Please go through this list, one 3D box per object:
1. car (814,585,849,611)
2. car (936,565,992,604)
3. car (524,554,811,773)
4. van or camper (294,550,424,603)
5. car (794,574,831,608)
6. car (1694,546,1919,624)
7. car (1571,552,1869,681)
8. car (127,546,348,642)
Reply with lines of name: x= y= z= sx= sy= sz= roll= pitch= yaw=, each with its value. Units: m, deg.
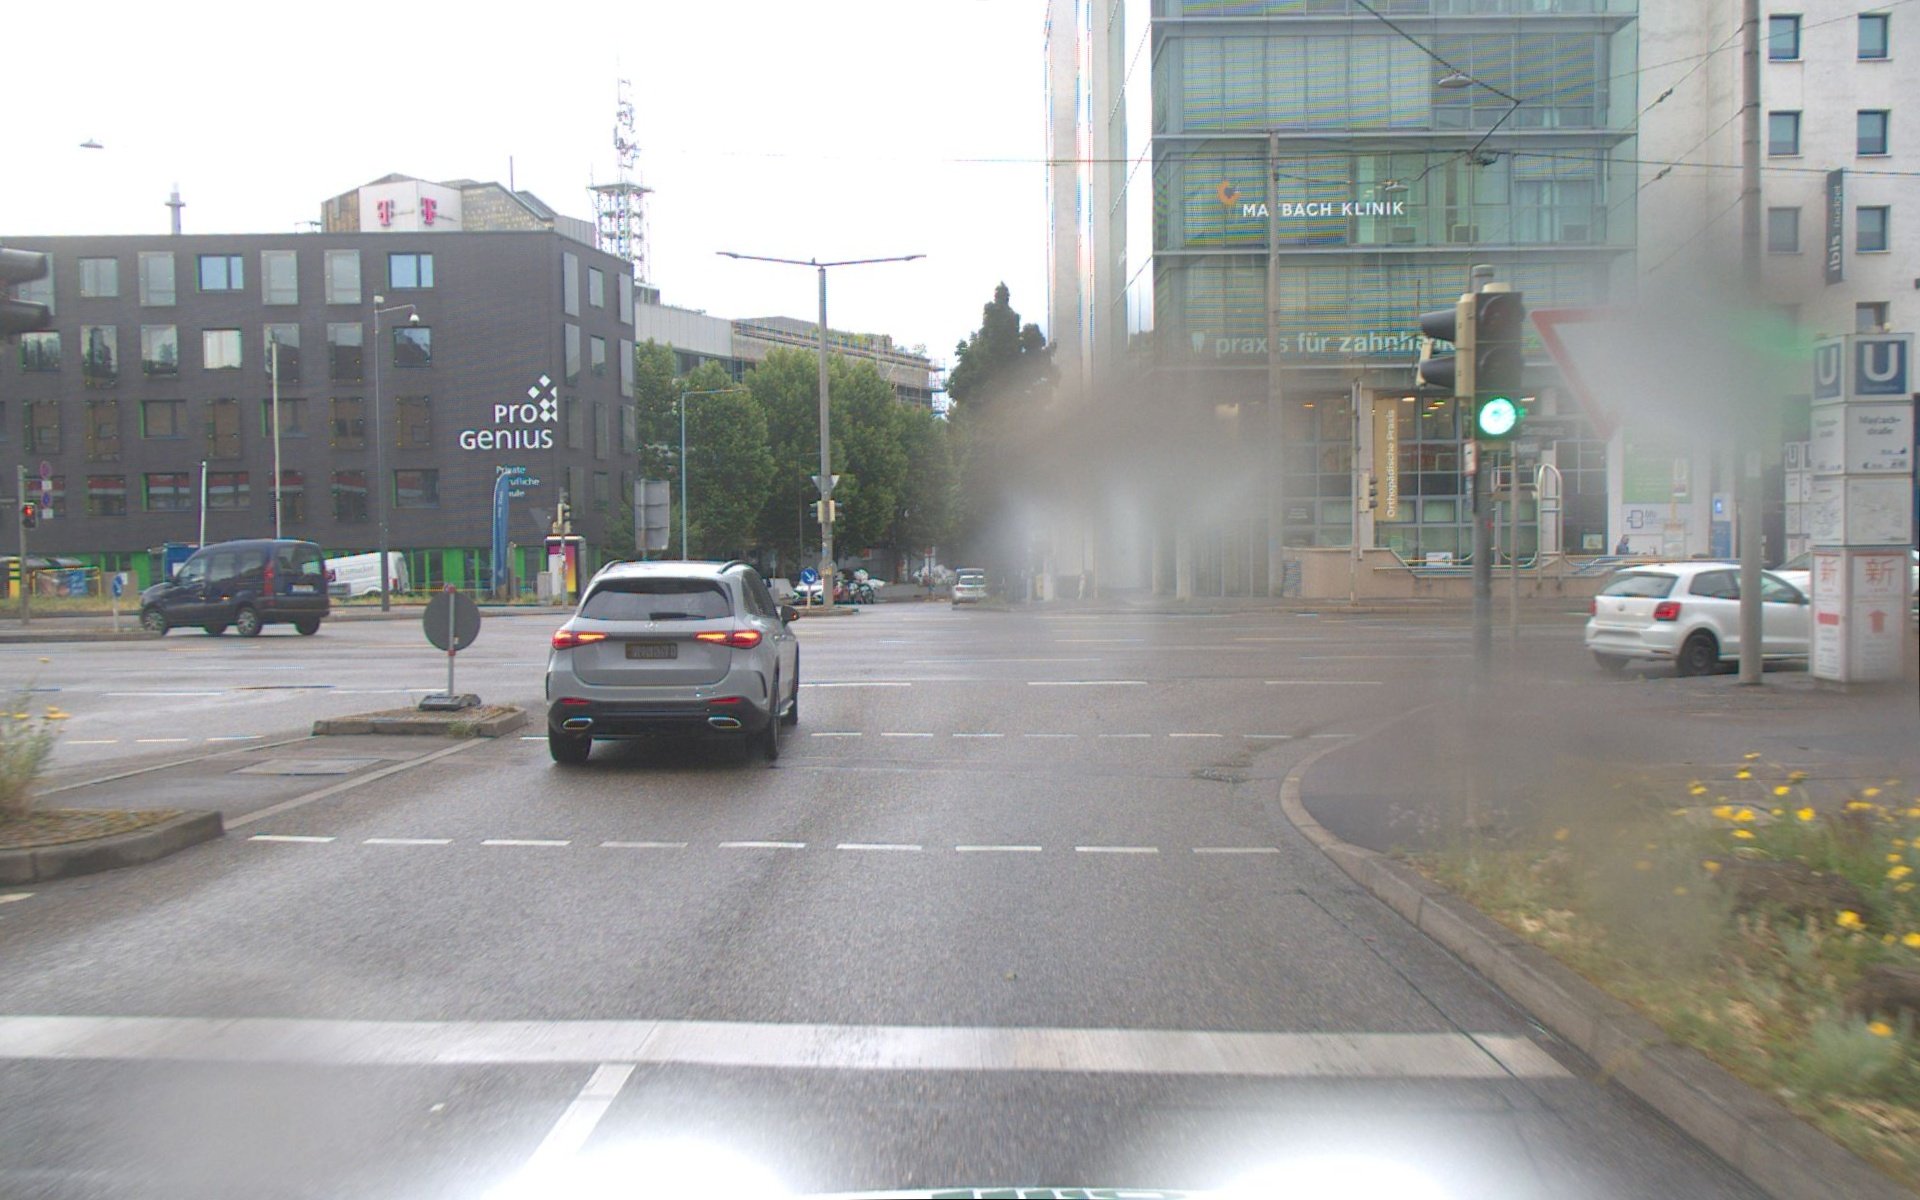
car: x=-8.434 y=-0.134 z=108.780 sx=1.643 sy=1.622 sz=3.859 roll=1 pitch=0 yaw=6
car: x=0.148 y=-0.725 z=78.094 sx=1.957 sy=1.747 sz=3.991 roll=1 pitch=0 yaw=-10
car: x=-2.437 y=0.455 z=14.818 sx=1.869 sy=1.660 sz=4.210 roll=1 pitch=1 yaw=-1
van or camper: x=-28.825 y=-1.109 z=79.495 sx=5.221 sy=2.410 sz=2.739 roll=1 pitch=0 yaw=-1
car: x=-9.211 y=-0.585 z=103.260 sx=1.953 sy=2.049 sz=4.000 roll=1 pitch=0 yaw=-1
car: x=17.335 y=-0.318 z=32.702 sx=4.847 sy=1.411 sz=1.823 roll=-1 pitch=2 yaw=-2
car: x=10.250 y=0.167 z=22.313 sx=3.719 sy=1.499 sz=1.664 roll=-2 pitch=3 yaw=-25
car: x=-14.259 y=-0.141 z=32.638 sx=4.037 sy=1.799 sz=1.857 roll=0 pitch=1 yaw=27
